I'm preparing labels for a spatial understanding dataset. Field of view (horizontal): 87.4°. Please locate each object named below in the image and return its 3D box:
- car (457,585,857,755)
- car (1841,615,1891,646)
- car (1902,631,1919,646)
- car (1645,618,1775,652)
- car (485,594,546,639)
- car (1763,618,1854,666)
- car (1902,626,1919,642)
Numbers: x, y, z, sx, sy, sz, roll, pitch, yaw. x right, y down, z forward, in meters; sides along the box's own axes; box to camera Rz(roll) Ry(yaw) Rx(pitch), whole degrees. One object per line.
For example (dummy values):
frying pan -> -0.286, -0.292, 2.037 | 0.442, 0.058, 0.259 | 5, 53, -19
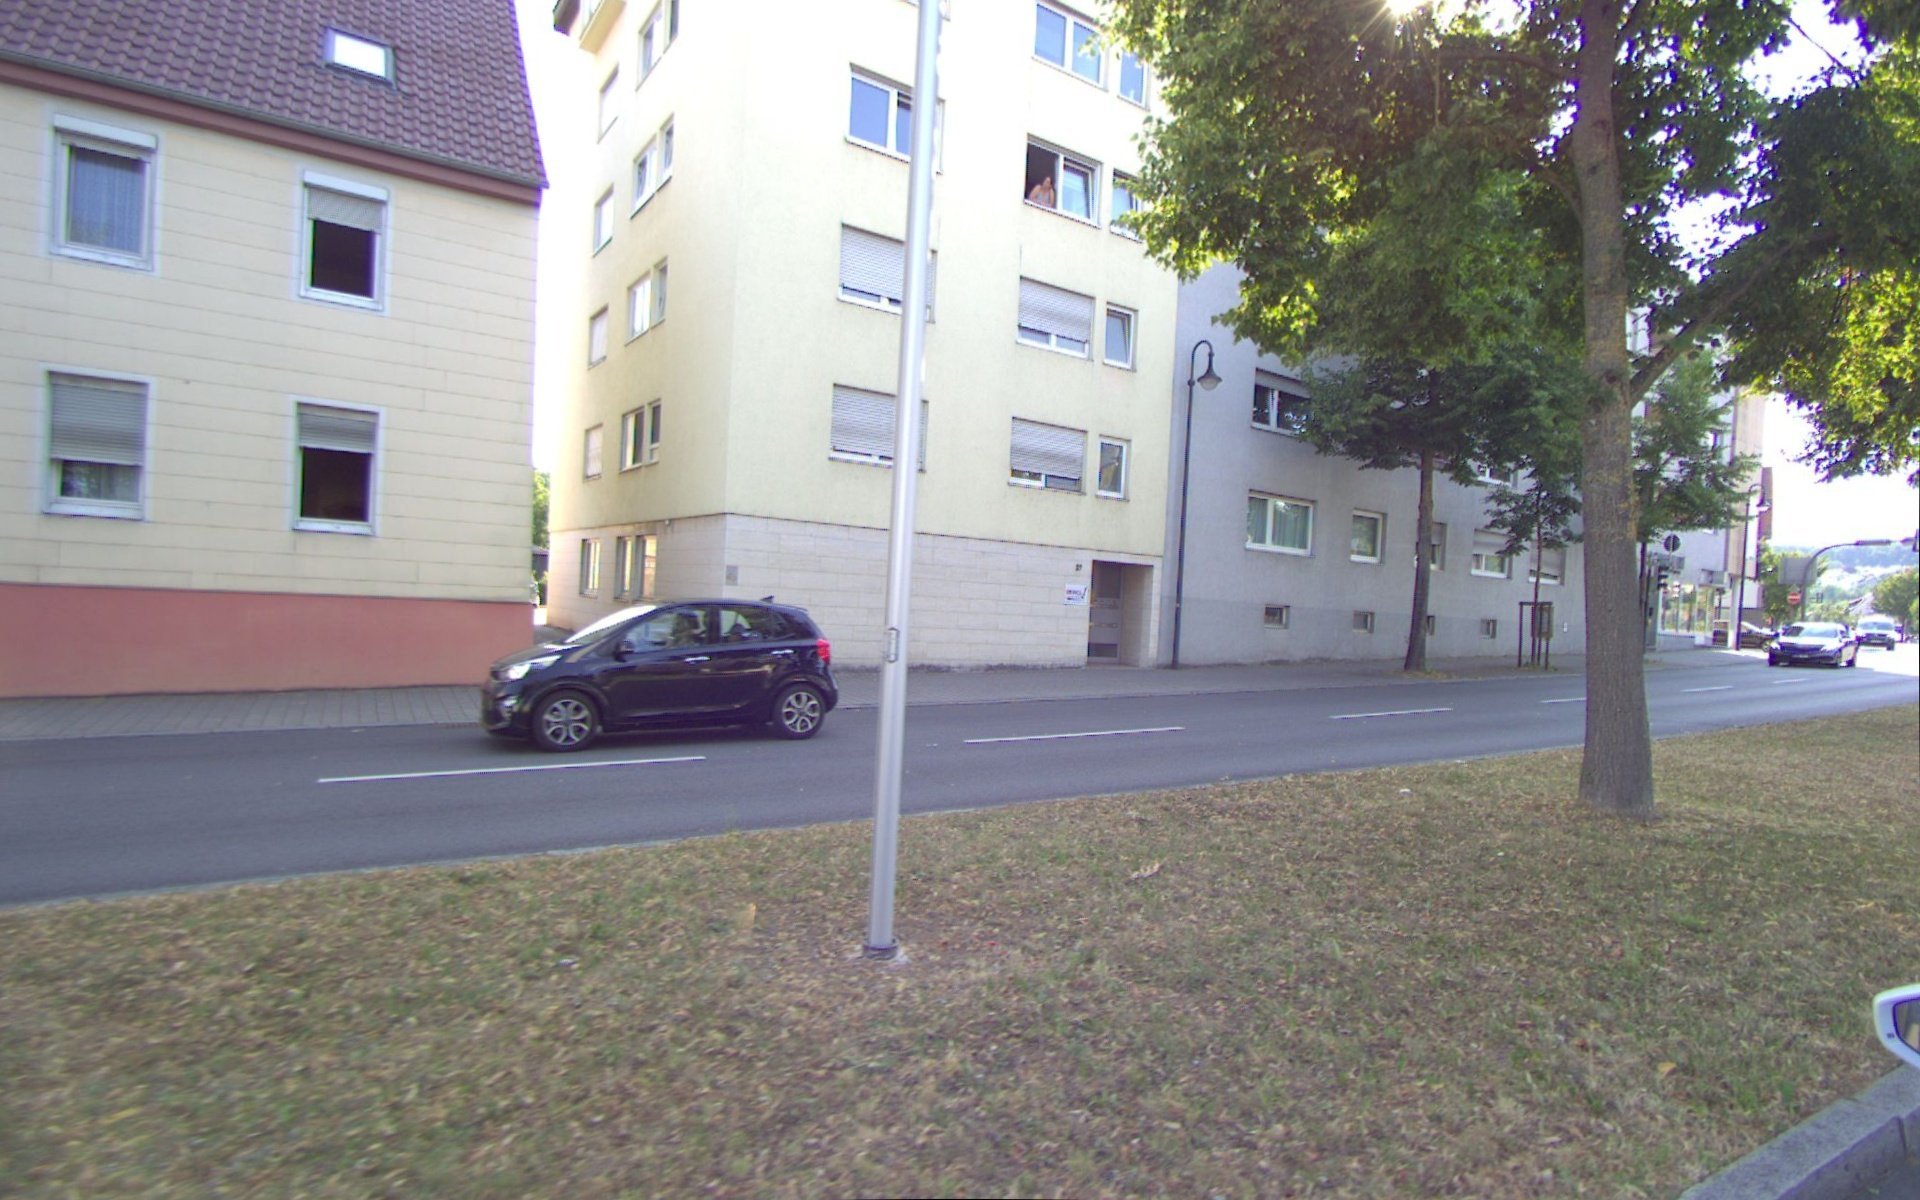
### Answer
car -> -3.135, 0.668, 10.598 | 3.742, 1.506, 1.597 | 2, -1, -32
car -> 54.694, 1.821, 60.725 | 1.829, 1.759, 4.903 | 1, -1, 37
car -> 119.161, 4.842, 125.116 | 2.189, 1.792, 4.436 | 2, 0, 38
car -> 36.550, 1.683, 49.065 | 1.903, 1.456, 4.815 | 2, -1, -41
car -> -17.594, 0.616, 39.918 | 1.646, 1.639, 3.986 | 2, 0, -16
car -> 29.277, 1.428, 34.598 | 4.961, 1.506, 1.835 | 2, -1, -44
car -> 126.998, 4.572, 134.048 | 1.753, 2.040, 3.978 | 2, 0, 42
